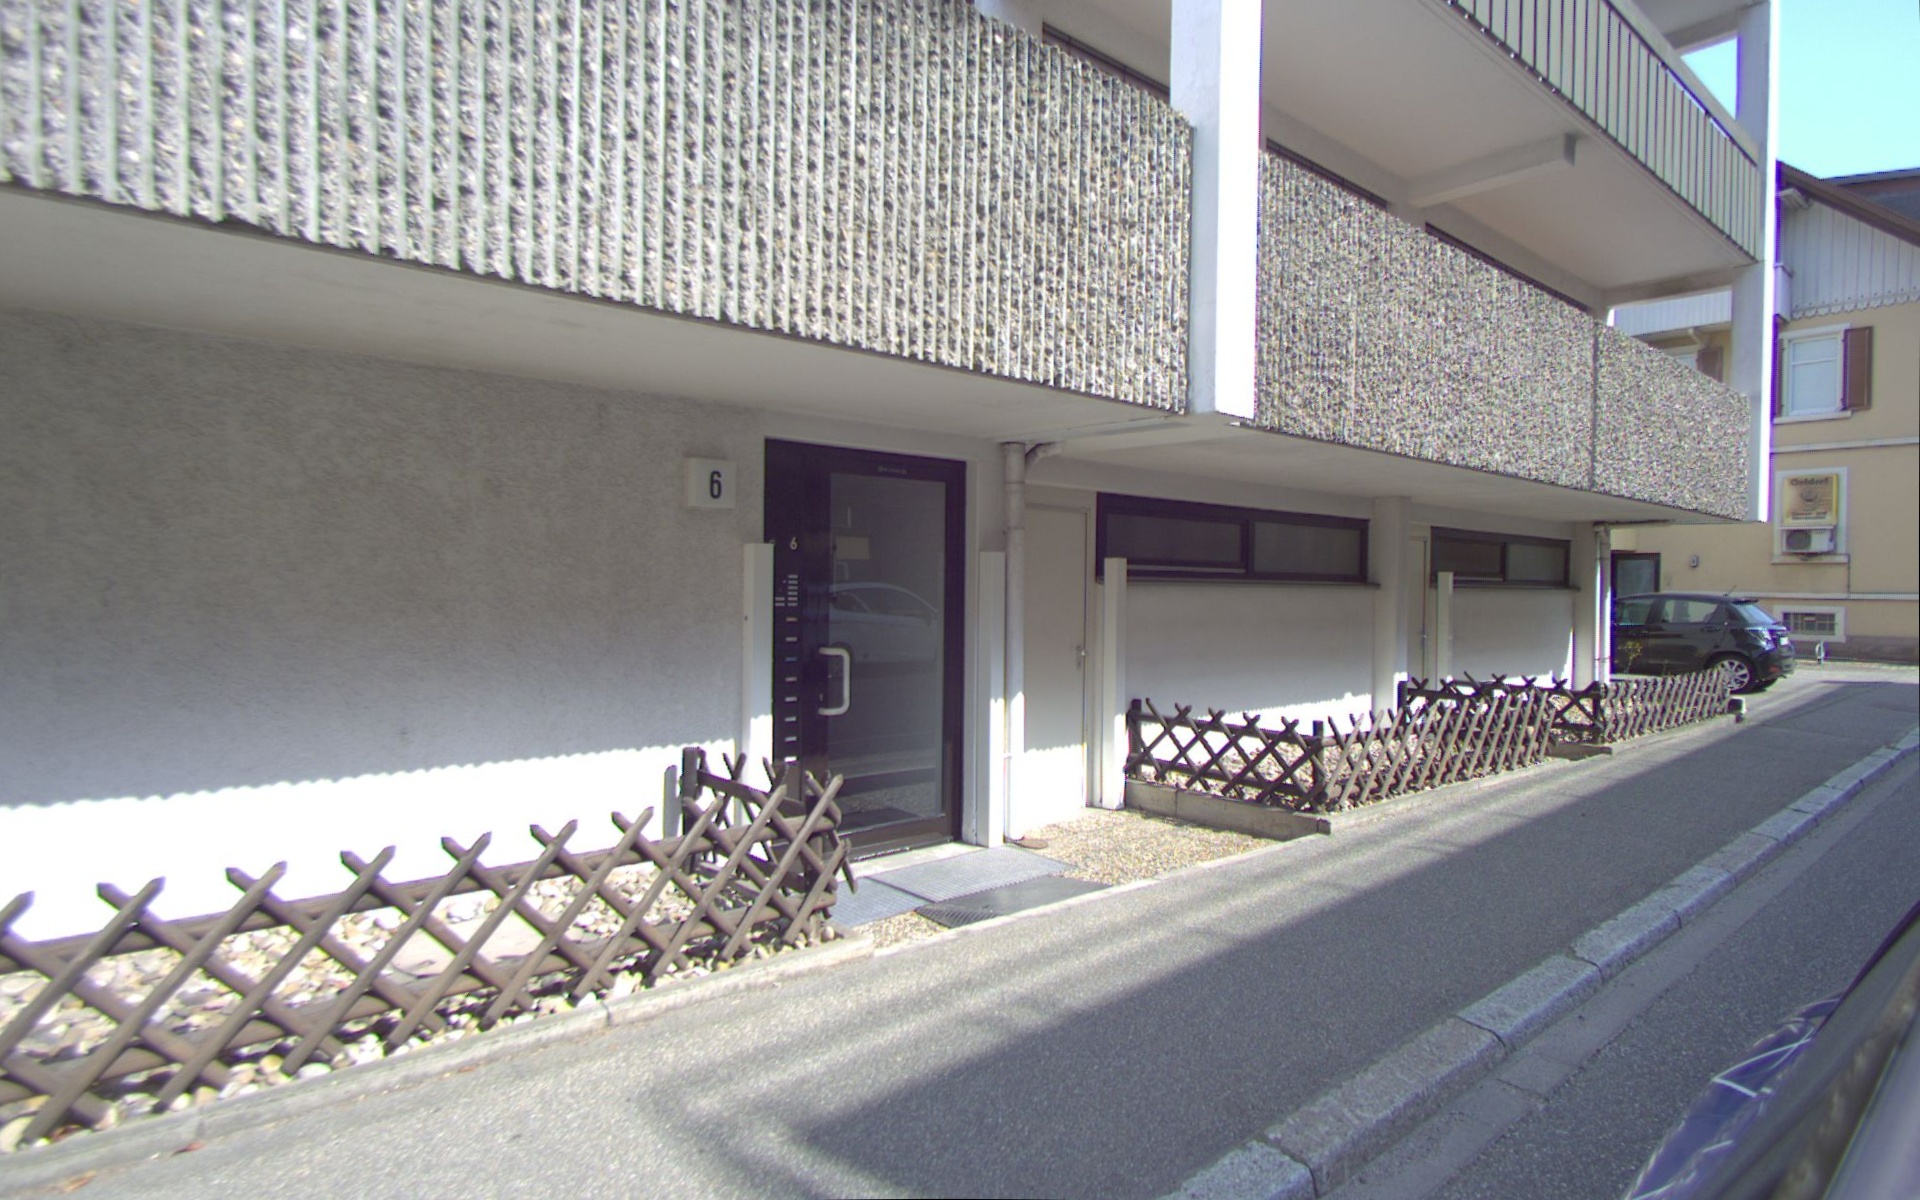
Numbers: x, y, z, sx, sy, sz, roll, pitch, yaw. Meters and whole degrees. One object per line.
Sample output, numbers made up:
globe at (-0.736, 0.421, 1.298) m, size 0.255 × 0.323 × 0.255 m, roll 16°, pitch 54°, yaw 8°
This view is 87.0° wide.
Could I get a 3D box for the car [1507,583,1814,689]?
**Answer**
car at (11.307, 0.520, 16.519) m, size 1.671 × 1.498 × 3.832 m, roll -1°, pitch 0°, yaw -41°
